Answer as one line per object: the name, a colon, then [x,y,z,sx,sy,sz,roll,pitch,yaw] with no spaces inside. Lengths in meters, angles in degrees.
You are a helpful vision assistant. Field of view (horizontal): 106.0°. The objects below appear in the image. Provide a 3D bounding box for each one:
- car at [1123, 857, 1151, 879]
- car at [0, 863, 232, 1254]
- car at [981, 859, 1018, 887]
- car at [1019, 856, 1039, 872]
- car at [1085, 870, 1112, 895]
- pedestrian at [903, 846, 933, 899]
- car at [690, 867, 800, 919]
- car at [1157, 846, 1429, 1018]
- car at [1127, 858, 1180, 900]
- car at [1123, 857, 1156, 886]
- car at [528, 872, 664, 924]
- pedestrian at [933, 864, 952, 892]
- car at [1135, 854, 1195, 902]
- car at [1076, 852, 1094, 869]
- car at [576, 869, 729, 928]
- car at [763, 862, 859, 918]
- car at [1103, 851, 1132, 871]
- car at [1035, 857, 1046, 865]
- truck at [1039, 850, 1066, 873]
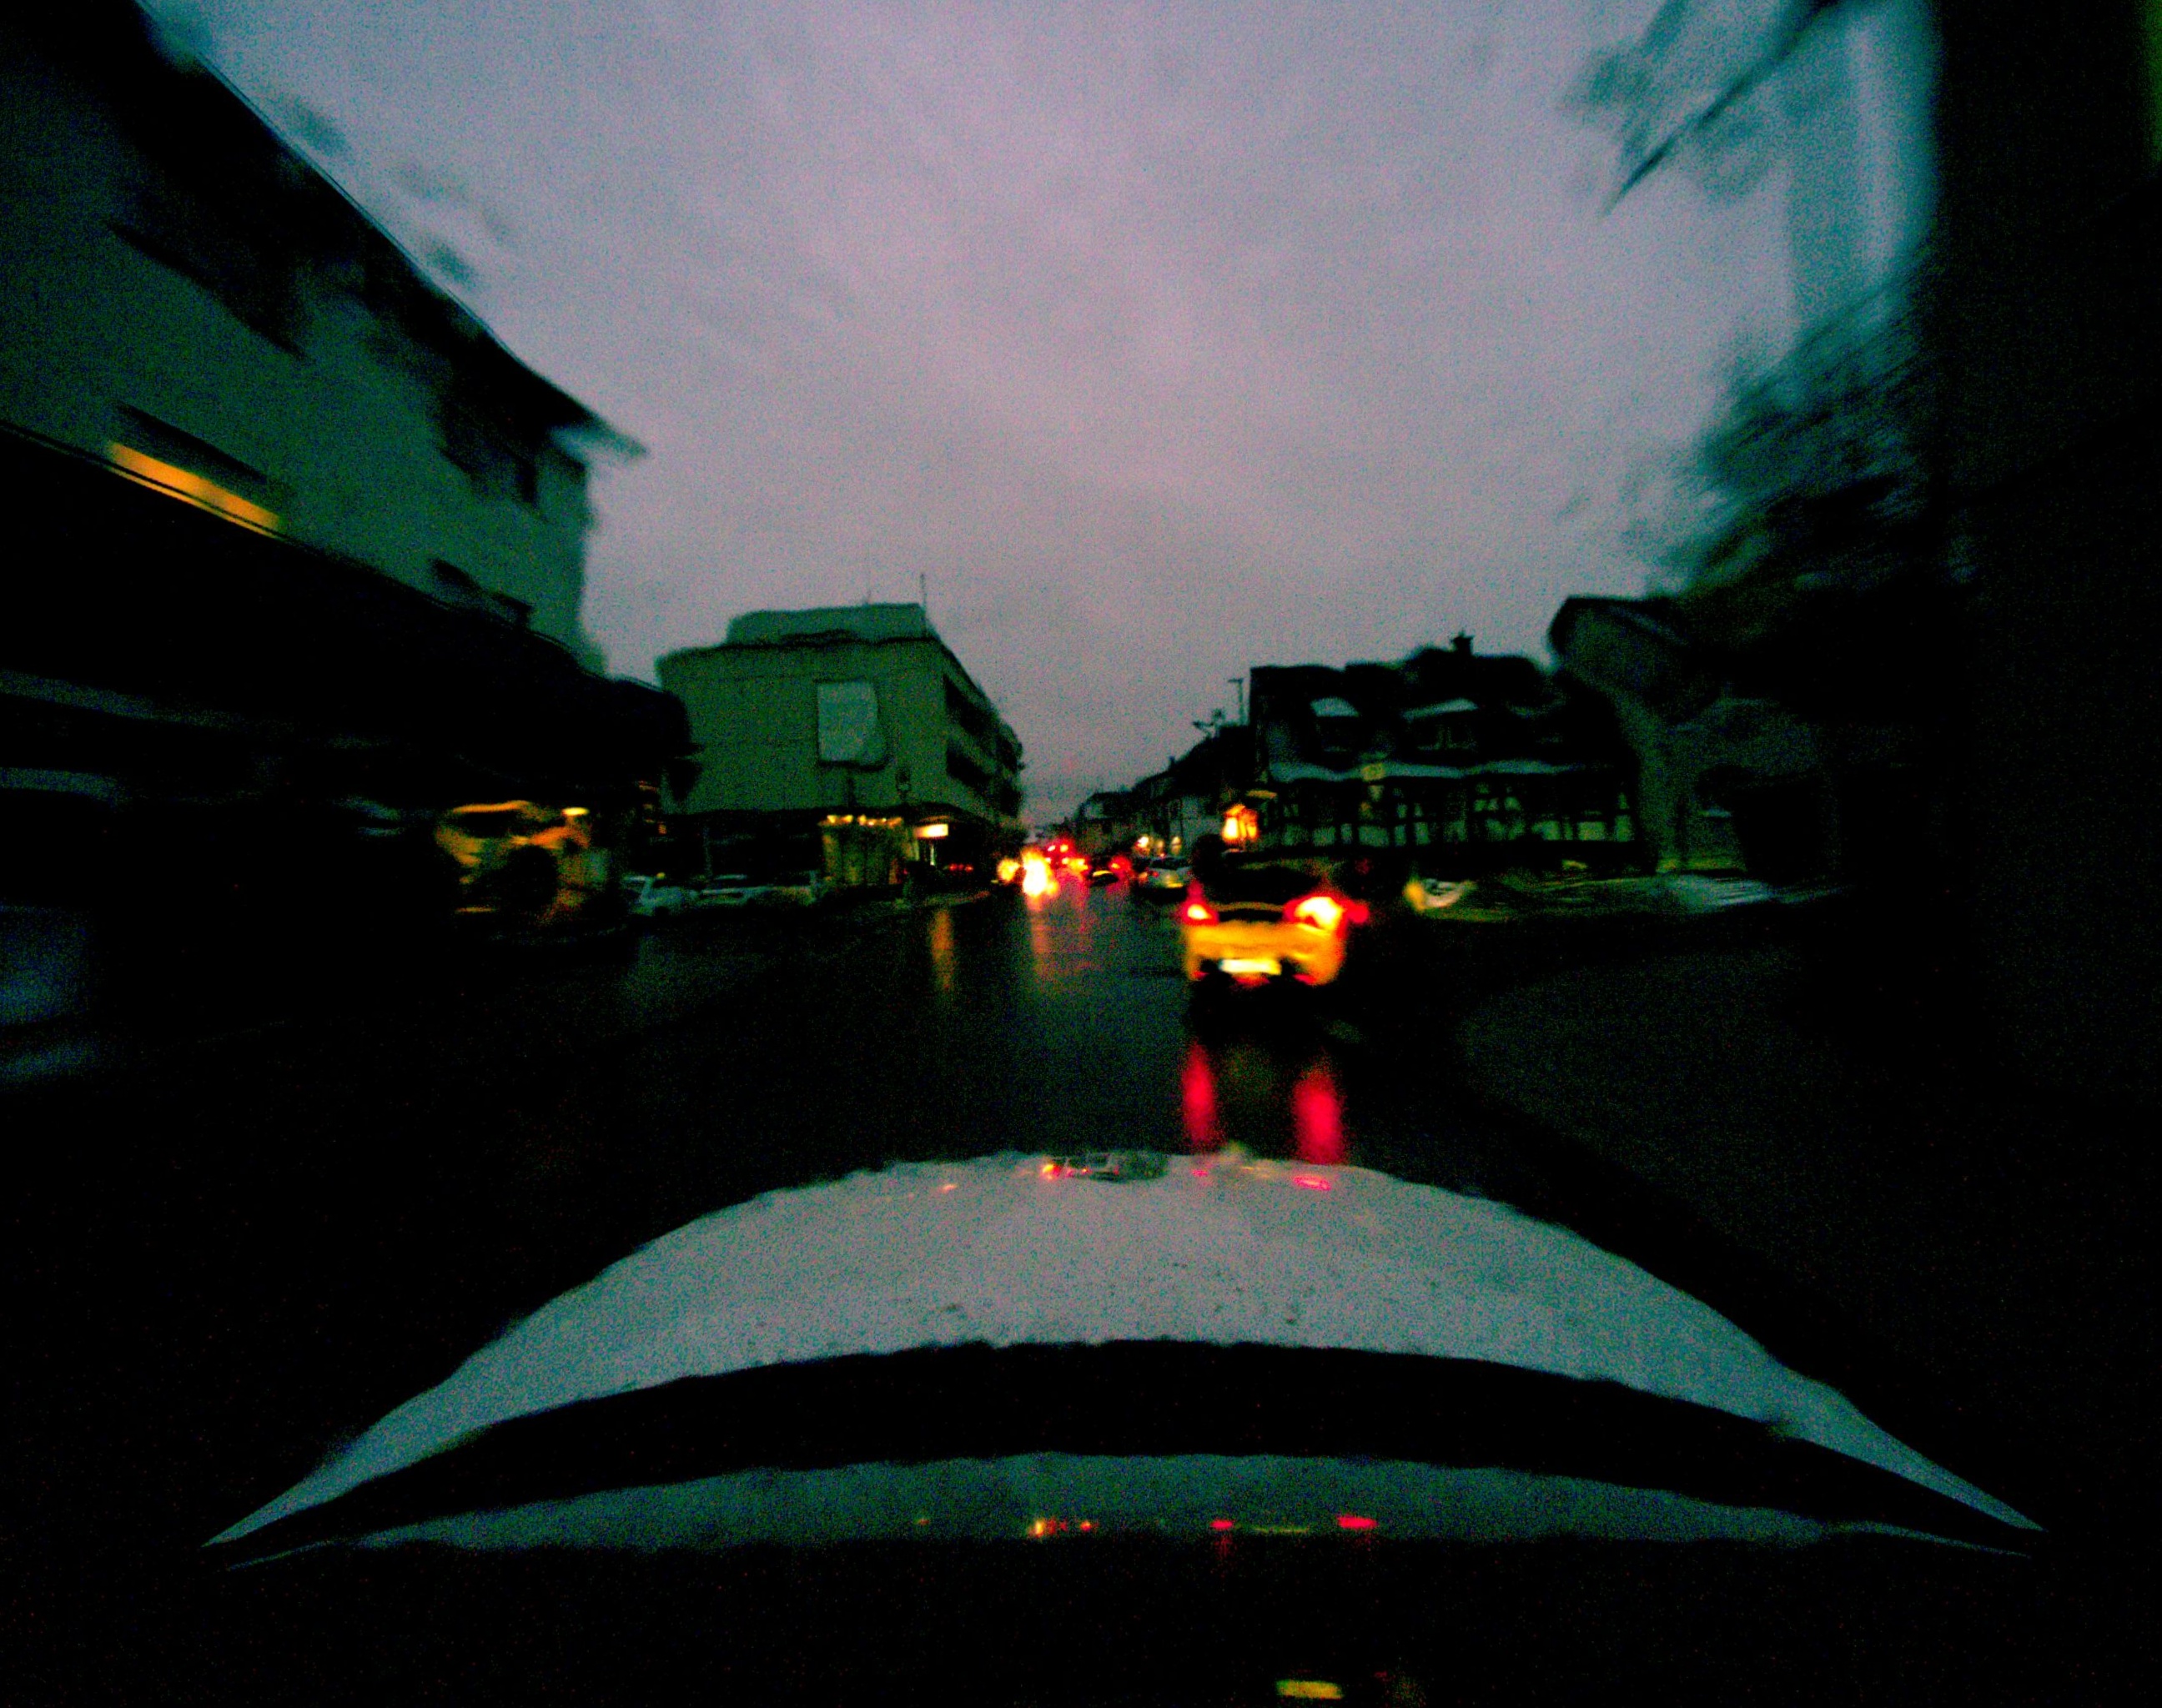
car: [4.127,0.986,60.730,1.788,1.460,4.531,-4,0,1]
car: [-5.436,0.863,2.411,1.714,1.614,3.818,1,0,3]
car: [-4.739,1.062,47.558,1.609,1.533,3.930,0,0,2]
car: [-5.312,0.995,82.983,1.792,1.642,3.803,0,0,-6]
car: [1.128,1.769,51.187,1.632,1.481,3.380,-1,-1,1]
pedestrian: [-6.220,0.680,31.062,0.975,1.938,1.196,-2,0,-16]
car: [-11.505,1.273,28.244,1.690,1.400,4.455,-2,1,4]
car: [2.559,0.684,9.137,1.753,1.447,3.751,-2,0,34]
car: [2.965,0.997,34.029,1.758,1.526,4.389,-4,-1,0]
car: [3.170,0.921,44.488,1.619,1.441,3.803,-4,-1,4]
car: [-17.167,1.506,29.125,1.688,1.464,4.460,-2,1,7]
pedestrian: [-6.776,1.166,39.874,0.753,1.310,0.828,0,-1,0]
car: [2.893,0.791,28.732,1.726,1.459,4.002,-4,-1,2]
car: [0.372,0.608,77.182,1.633,1.481,3.271,0,0,0]
car: [-14.324,1.422,27.645,2.092,1.499,5.052,-2,1,5]
car: [-8.986,1.140,27.463,1.759,1.499,4.448,-3,1,-1]
car: [3.060,0.556,69.615,1.879,1.547,4.664,-3,0,-4]
car: [-7.748,1.407,155.998,1.637,1.535,3.396,-1,0,-9]
truck: [-4.299,1.088,119.543,3.014,3.128,7.975,-1,0,-9]
